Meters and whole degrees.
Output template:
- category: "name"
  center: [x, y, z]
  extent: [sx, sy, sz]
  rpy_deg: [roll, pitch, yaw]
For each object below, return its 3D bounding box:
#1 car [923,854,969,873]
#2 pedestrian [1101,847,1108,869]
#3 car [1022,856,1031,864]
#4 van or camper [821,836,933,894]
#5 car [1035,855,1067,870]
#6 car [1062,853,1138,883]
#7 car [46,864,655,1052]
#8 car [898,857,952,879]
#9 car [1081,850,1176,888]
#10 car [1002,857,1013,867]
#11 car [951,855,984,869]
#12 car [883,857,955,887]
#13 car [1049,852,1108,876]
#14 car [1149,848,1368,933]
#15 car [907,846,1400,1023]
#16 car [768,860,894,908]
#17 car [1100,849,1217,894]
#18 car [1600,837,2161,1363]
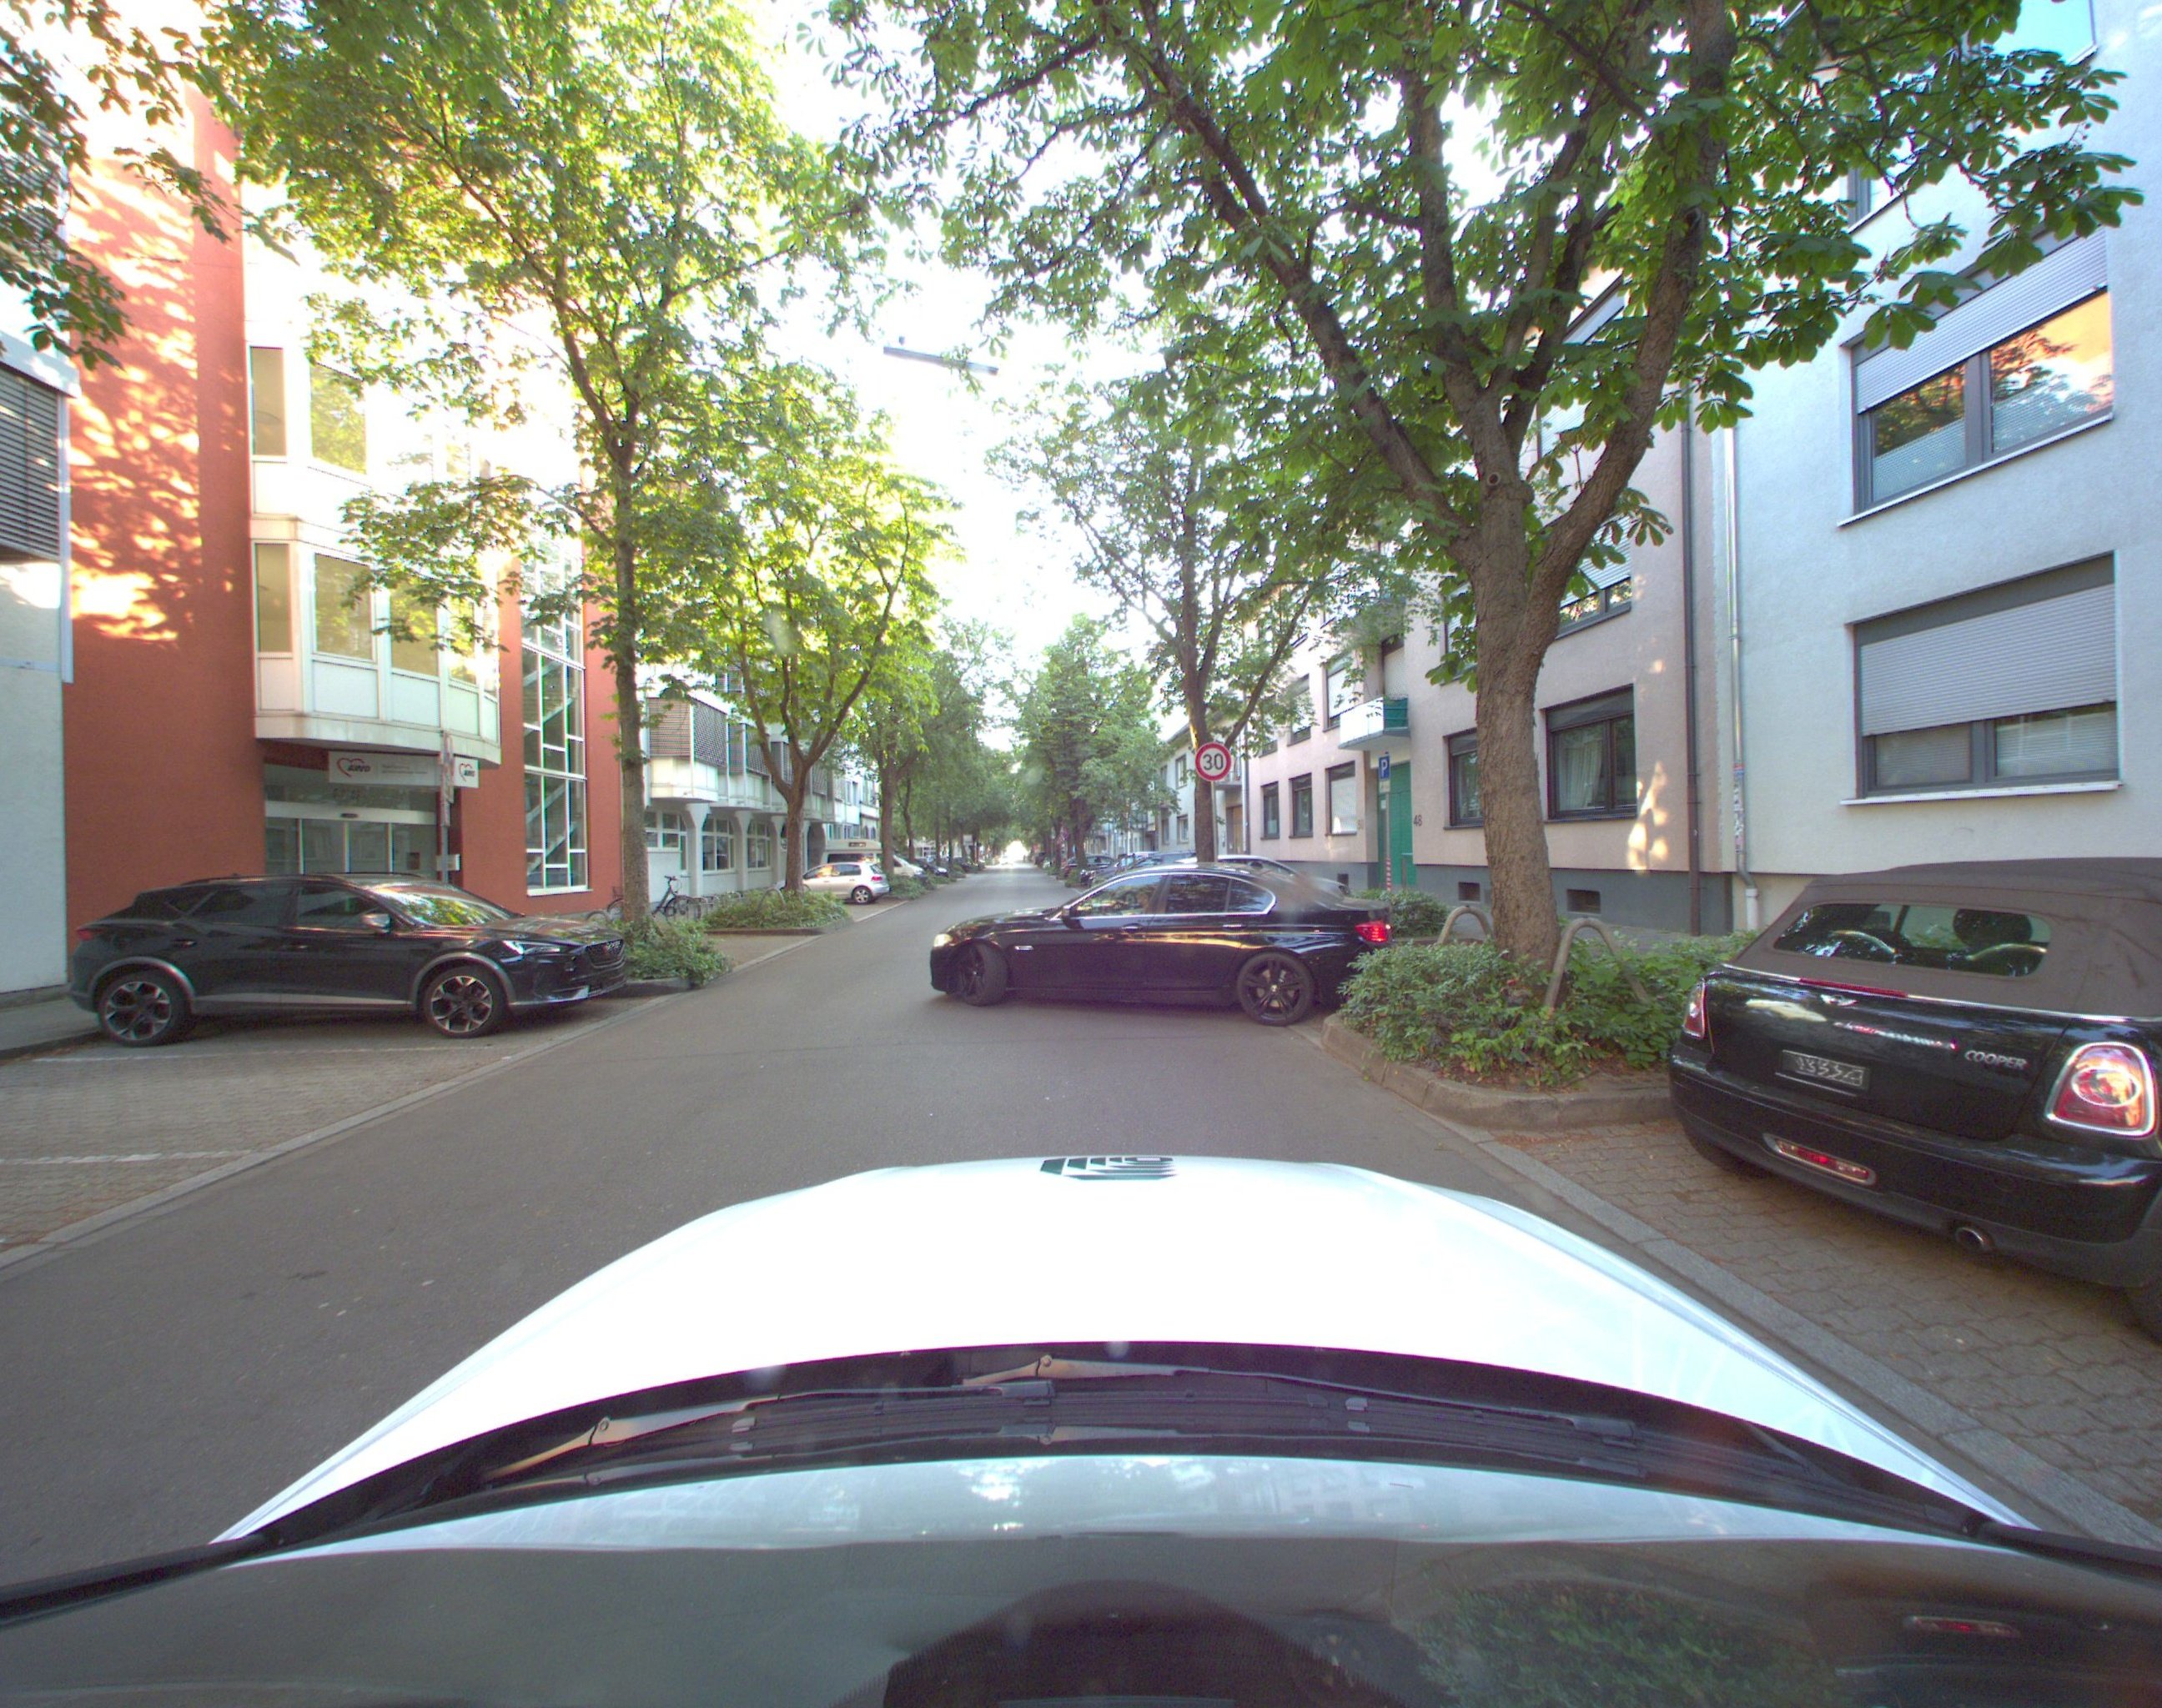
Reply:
- category: "car"
  center: [-12.678, 0.860, 76.645]
  extent: [3.959, 1.619, 1.783]
  rpy_deg: [-2, 0, -4]
- category: "pedestrian"
  center: [2.248, 0.367, 77.721]
  extent: [0.587, 2.013, 0.669]
  rpy_deg: [-1, 0, -3]
- category: "car"
  center: [-11.439, 1.191, 170.200]
  extent: [1.819, 1.530, 3.995]
  rpy_deg: [-2, 0, -4]
- category: "van or camper"
  center: [-9.291, 0.483, 37.420]
  extent: [4.656, 2.478, 1.997]
  rpy_deg: [-1, 0, -5]
- category: "car"
  center: [-3.725, 1.056, 101.056]
  extent: [3.959, 1.684, 1.783]
  rpy_deg: [-2, 0, -4]
- category: "car"
  center: [1.019, 0.741, 45.086]
  extent: [3.962, 1.527, 1.782]
  rpy_deg: [-2, 0, -5]
- category: "car"
  center: [-7.021, 0.929, 8.275]
  extent: [4.347, 1.517, 1.782]
  rpy_deg: [-2, 0, -5]
- category: "car"
  center: [-12.396, 1.068, 64.970]
  extent: [3.959, 1.619, 1.783]
  rpy_deg: [-2, 0, -4]
- category: "car"
  center: [2.078, 0.665, 36.245]
  extent: [3.962, 1.527, 1.782]
  rpy_deg: [-2, 0, -5]
- category: "car"
  center: [-11.995, 1.363, 133.041]
  extent: [1.775, 1.562, 4.162]
  rpy_deg: [-1, 0, -4]
- category: "car"
  center: [-14.400, 0.975, 103.310]
  extent: [3.959, 1.619, 1.783]
  rpy_deg: [-2, 0, -4]
- category: "car"
  center: [-9.592, 1.043, 48.423]
  extent: [3.960, 1.619, 1.783]
  rpy_deg: [-2, 0, -4]
- category: "car"
  center: [-0.173, 0.658, 56.990]
  extent: [3.963, 1.527, 1.781]
  rpy_deg: [-2, 0, -6]
- category: "car"
  center: [3.439, 0.673, 16.121]
  extent: [3.904, 1.476, 1.661]
  rpy_deg: [-2, 0, -7]
- category: "car"
  center: [0.746, 0.726, 8.474]
  extent: [4.706, 1.480, 1.809]
  rpy_deg: [-1, 0, 19]
- category: "car"
  center: [-8.846, 1.039, 29.087]
  extent: [3.960, 1.517, 1.783]
  rpy_deg: [-2, 0, -4]
- category: "car"
  center: [2.801, 0.626, 29.763]
  extent: [3.963, 1.476, 1.781]
  rpy_deg: [-2, 0, -7]
- category: "car"
  center: [4.349, 0.630, 3.271]
  extent: [3.608, 1.363, 1.660]
  rpy_deg: [-2, 0, -8]
